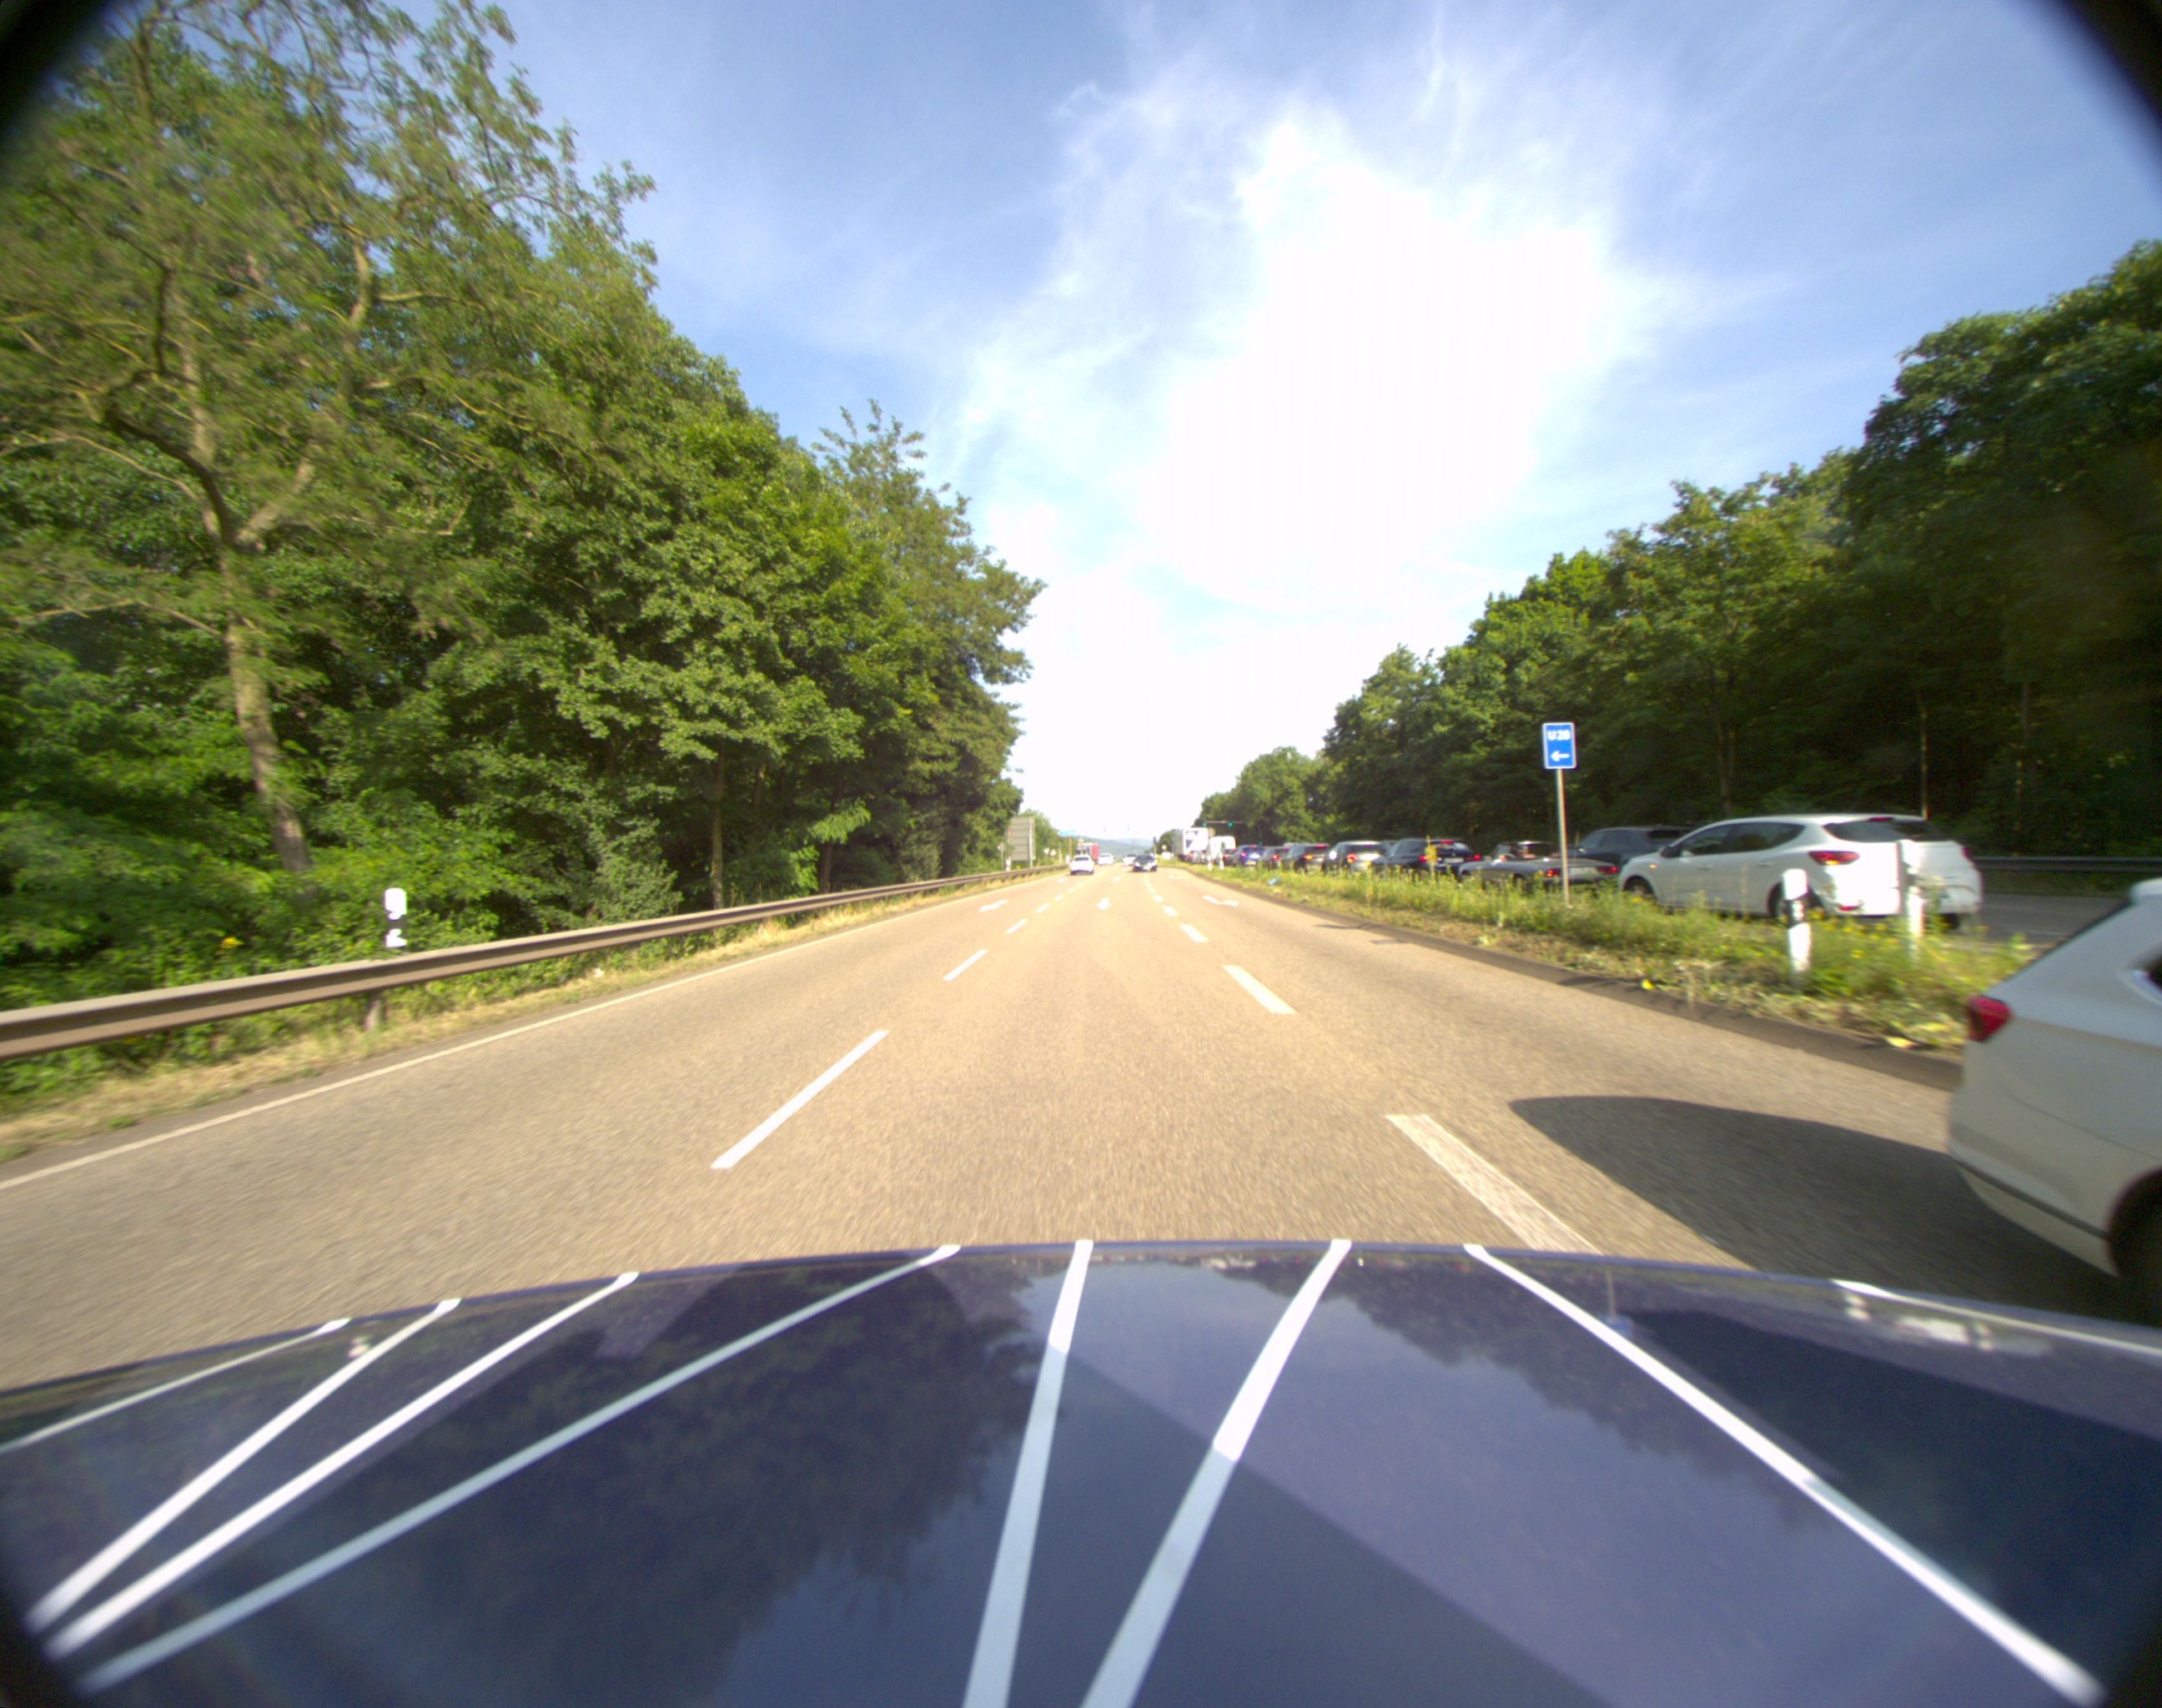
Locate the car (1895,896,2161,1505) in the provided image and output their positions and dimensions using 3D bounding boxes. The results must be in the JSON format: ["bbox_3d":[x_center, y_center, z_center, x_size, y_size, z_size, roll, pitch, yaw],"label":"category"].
[{"bbox_3d":[3.688,0.887,0.139,1.874,1.512,4.834,-4,0,1],"label":"car"}]

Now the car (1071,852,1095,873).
[{"bbox_3d":[0.207,0.684,62.499,1.874,1.625,4.834,-2,0,1],"label":"car"}]

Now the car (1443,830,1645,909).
[{"bbox_3d":[9.603,0.286,16.262,1.771,1.409,4.435,-2,0,3],"label":"car"}]

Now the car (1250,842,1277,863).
[{"bbox_3d":[15.660,-0.137,65.343,1.629,1.696,3.575,0,0,2],"label":"car"}]

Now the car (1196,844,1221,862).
[{"bbox_3d":[12.212,-0.116,73.102,1.704,1.622,4.748,-2,0,1],"label":"car"}]

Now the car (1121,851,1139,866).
[{"bbox_3d":[6.027,0.564,94.262,1.998,1.632,4.001,-4,0,2],"label":"car"}]

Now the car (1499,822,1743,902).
[{"bbox_3d":[13.505,0.185,19.703,2.108,1.698,6.226,-2,0,3],"label":"car"}]

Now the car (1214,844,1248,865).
[{"bbox_3d":[11.218,0.032,57.254,1.764,1.448,5.187,-2,0,3],"label":"car"}]

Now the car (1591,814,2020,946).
[{"bbox_3d":[9.447,0.289,10.572,1.872,1.409,4.416,-2,0,3],"label":"car"}]

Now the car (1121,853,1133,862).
[{"bbox_3d":[9.386,0.668,154.406,1.998,1.632,4.000,-4,0,0],"label":"car"}]

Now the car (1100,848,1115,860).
[{"bbox_3d":[3.946,-0.046,112.364,1.998,1.632,4.000,-4,0,0],"label":"car"}]

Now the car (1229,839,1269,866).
[{"bbox_3d":[11.065,-0.068,50.451,1.775,1.659,4.801,-2,0,3],"label":"car"}]

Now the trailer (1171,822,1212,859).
[{"bbox_3d":[13.049,-1.494,91.073,2.999,3.972,14.015,-4,0,2],"label":"trailer"}]

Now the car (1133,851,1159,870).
[{"bbox_3d":[5.417,0.538,63.777,1.861,1.452,4.570,-4,0,2],"label":"car"}]

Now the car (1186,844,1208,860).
[{"bbox_3d":[12.263,-0.167,80.741,1.704,1.622,4.371,-2,0,1],"label":"car"}]

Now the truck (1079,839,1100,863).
[{"bbox_3d":[1.753,-0.539,141.523,3.196,3.995,14.566,-4,0,2],"label":"truck"}]

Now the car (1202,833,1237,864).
[{"bbox_3d":[11.851,-0.469,65.485,2.080,2.519,6.165,-2,0,3],"label":"car"}]

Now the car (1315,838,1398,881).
[{"bbox_3d":[10.085,0.194,28.172,1.711,1.415,4.212,-2,0,3],"label":"car"}]

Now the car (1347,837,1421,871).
[{"bbox_3d":[14.134,0.006,35.666,1.872,1.452,4.416,-2,0,3],"label":"car"}]

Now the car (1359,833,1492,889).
[{"bbox_3d":[9.927,0.185,22.428,1.771,1.415,5.194,-2,0,3],"label":"car"}]

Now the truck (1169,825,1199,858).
[{"bbox_3d":[13.261,-1.536,98.601,2.898,3.974,6.722,-4,0,1],"label":"truck"}]

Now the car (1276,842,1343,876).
[{"bbox_3d":[10.455,0.200,35.164,1.775,1.415,5.193,-2,0,3],"label":"car"}]

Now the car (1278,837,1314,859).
[{"bbox_3d":[19.195,-0.503,68.082,2.016,1.924,5.103,1,0,3],"label":"car"}]

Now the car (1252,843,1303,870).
[{"bbox_3d":[10.889,0.156,42.435,1.775,1.371,4.844,-2,0,3],"label":"car"}]
